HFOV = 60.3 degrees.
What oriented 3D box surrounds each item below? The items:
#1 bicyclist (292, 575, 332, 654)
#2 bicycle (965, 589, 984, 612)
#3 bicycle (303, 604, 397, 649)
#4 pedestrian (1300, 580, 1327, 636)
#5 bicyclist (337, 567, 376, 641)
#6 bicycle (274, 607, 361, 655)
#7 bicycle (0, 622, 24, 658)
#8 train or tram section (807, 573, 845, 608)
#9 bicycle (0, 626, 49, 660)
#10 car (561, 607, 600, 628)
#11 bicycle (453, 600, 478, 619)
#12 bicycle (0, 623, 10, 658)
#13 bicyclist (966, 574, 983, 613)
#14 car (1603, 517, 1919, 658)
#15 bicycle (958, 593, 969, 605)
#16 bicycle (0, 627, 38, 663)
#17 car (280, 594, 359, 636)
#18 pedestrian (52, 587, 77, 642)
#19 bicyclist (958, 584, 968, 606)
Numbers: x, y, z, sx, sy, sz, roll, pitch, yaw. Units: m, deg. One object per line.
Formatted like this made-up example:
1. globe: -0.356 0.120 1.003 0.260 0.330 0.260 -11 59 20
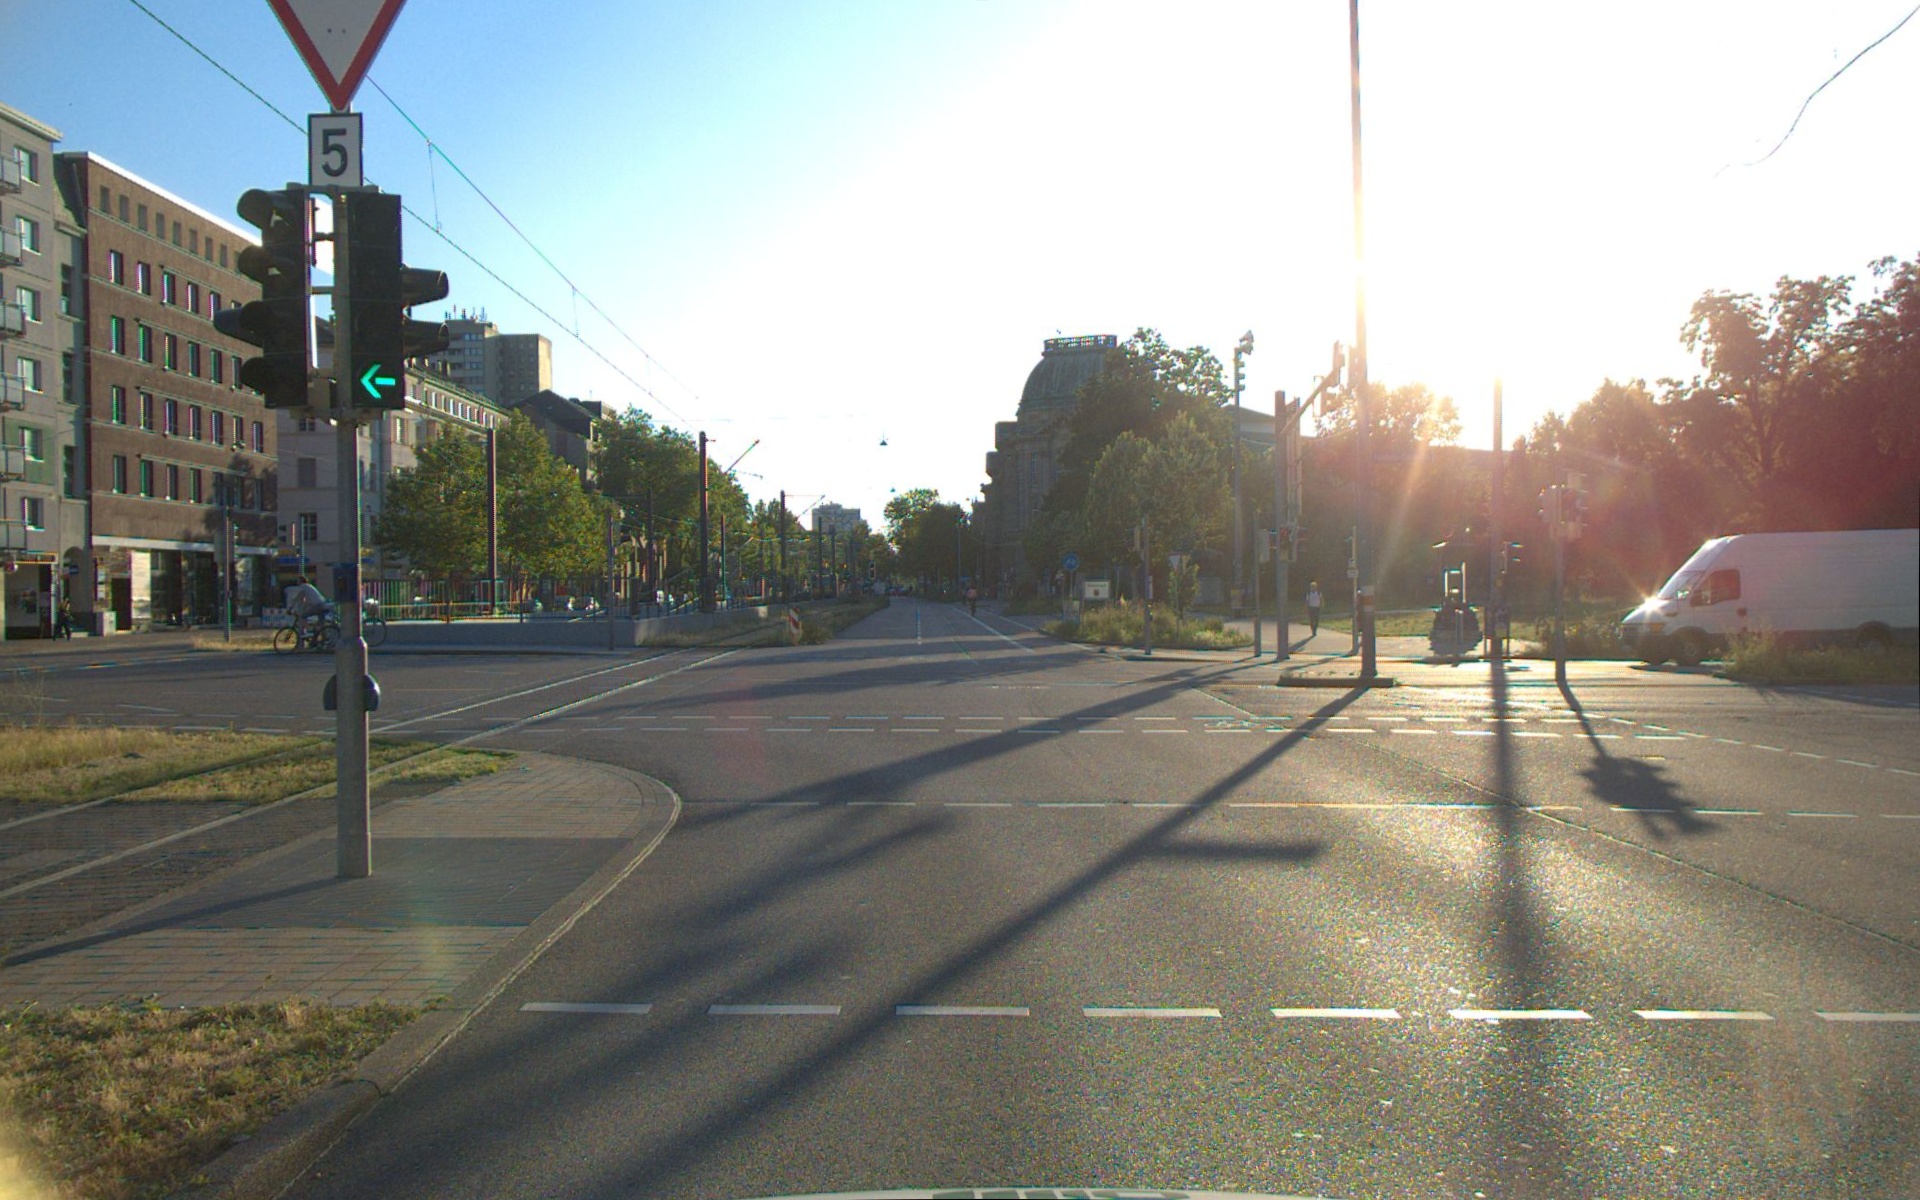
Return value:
1. bicyclist: -15.430 0.347 39.406 0.779 1.850 0.644 -1 0 -14
2. bicycle: 0.864 0.022 100.871 1.075 1.423 2.831 -1 0 -1
3. bicycle: -15.281 0.664 41.457 2.127 1.102 0.537 1 0 -14
4. pedestrian: 11.683 0.262 54.706 0.815 1.835 0.811 -1 0 14
5. bicyclist: -15.136 0.098 41.495 0.861 1.850 0.536 -1 0 -14
6. bicycle: -15.312 0.734 39.452 1.869 1.094 0.630 -1 0 -14
7. bicycle: -32.866 1.360 56.226 1.655 1.199 0.748 -1 0 1
8. train or tram section: -15.833 -1.160 195.814 4.301 3.917 11.398 -1 0 -5
9. bicycle: -32.842 1.506 57.734 1.655 1.164 0.697 -1 0 1
10. car: -28.148 1.314 122.790 1.781 1.445 4.002 -1 0 3
11. bicycle: -31.879 0.597 106.623 0.796 1.222 2.413 -1 0 2
12. bicycle: -32.893 1.362 55.463 1.655 1.173 0.705 -1 0 1
13. bicyclist: 0.882 -0.393 100.869 1.060 2.316 0.986 0 0 -1
14. car: 17.749 -0.272 35.770 6.866 2.877 2.093 -1 0 1
15. bicycle: 0.320 -0.075 155.653 0.905 1.131 2.332 -1 0 -1
16. bicycle: -32.830 1.552 57.001 1.655 1.190 0.748 -1 0 1
17. car: -27.049 0.621 69.927 1.654 1.646 4.001 -2 0 1
18. pedestrian: -36.741 0.585 67.868 0.589 2.216 0.792 -1 0 -1
19. bicyclist: 0.311 -0.506 155.763 0.907 2.049 0.850 -1 0 -1
